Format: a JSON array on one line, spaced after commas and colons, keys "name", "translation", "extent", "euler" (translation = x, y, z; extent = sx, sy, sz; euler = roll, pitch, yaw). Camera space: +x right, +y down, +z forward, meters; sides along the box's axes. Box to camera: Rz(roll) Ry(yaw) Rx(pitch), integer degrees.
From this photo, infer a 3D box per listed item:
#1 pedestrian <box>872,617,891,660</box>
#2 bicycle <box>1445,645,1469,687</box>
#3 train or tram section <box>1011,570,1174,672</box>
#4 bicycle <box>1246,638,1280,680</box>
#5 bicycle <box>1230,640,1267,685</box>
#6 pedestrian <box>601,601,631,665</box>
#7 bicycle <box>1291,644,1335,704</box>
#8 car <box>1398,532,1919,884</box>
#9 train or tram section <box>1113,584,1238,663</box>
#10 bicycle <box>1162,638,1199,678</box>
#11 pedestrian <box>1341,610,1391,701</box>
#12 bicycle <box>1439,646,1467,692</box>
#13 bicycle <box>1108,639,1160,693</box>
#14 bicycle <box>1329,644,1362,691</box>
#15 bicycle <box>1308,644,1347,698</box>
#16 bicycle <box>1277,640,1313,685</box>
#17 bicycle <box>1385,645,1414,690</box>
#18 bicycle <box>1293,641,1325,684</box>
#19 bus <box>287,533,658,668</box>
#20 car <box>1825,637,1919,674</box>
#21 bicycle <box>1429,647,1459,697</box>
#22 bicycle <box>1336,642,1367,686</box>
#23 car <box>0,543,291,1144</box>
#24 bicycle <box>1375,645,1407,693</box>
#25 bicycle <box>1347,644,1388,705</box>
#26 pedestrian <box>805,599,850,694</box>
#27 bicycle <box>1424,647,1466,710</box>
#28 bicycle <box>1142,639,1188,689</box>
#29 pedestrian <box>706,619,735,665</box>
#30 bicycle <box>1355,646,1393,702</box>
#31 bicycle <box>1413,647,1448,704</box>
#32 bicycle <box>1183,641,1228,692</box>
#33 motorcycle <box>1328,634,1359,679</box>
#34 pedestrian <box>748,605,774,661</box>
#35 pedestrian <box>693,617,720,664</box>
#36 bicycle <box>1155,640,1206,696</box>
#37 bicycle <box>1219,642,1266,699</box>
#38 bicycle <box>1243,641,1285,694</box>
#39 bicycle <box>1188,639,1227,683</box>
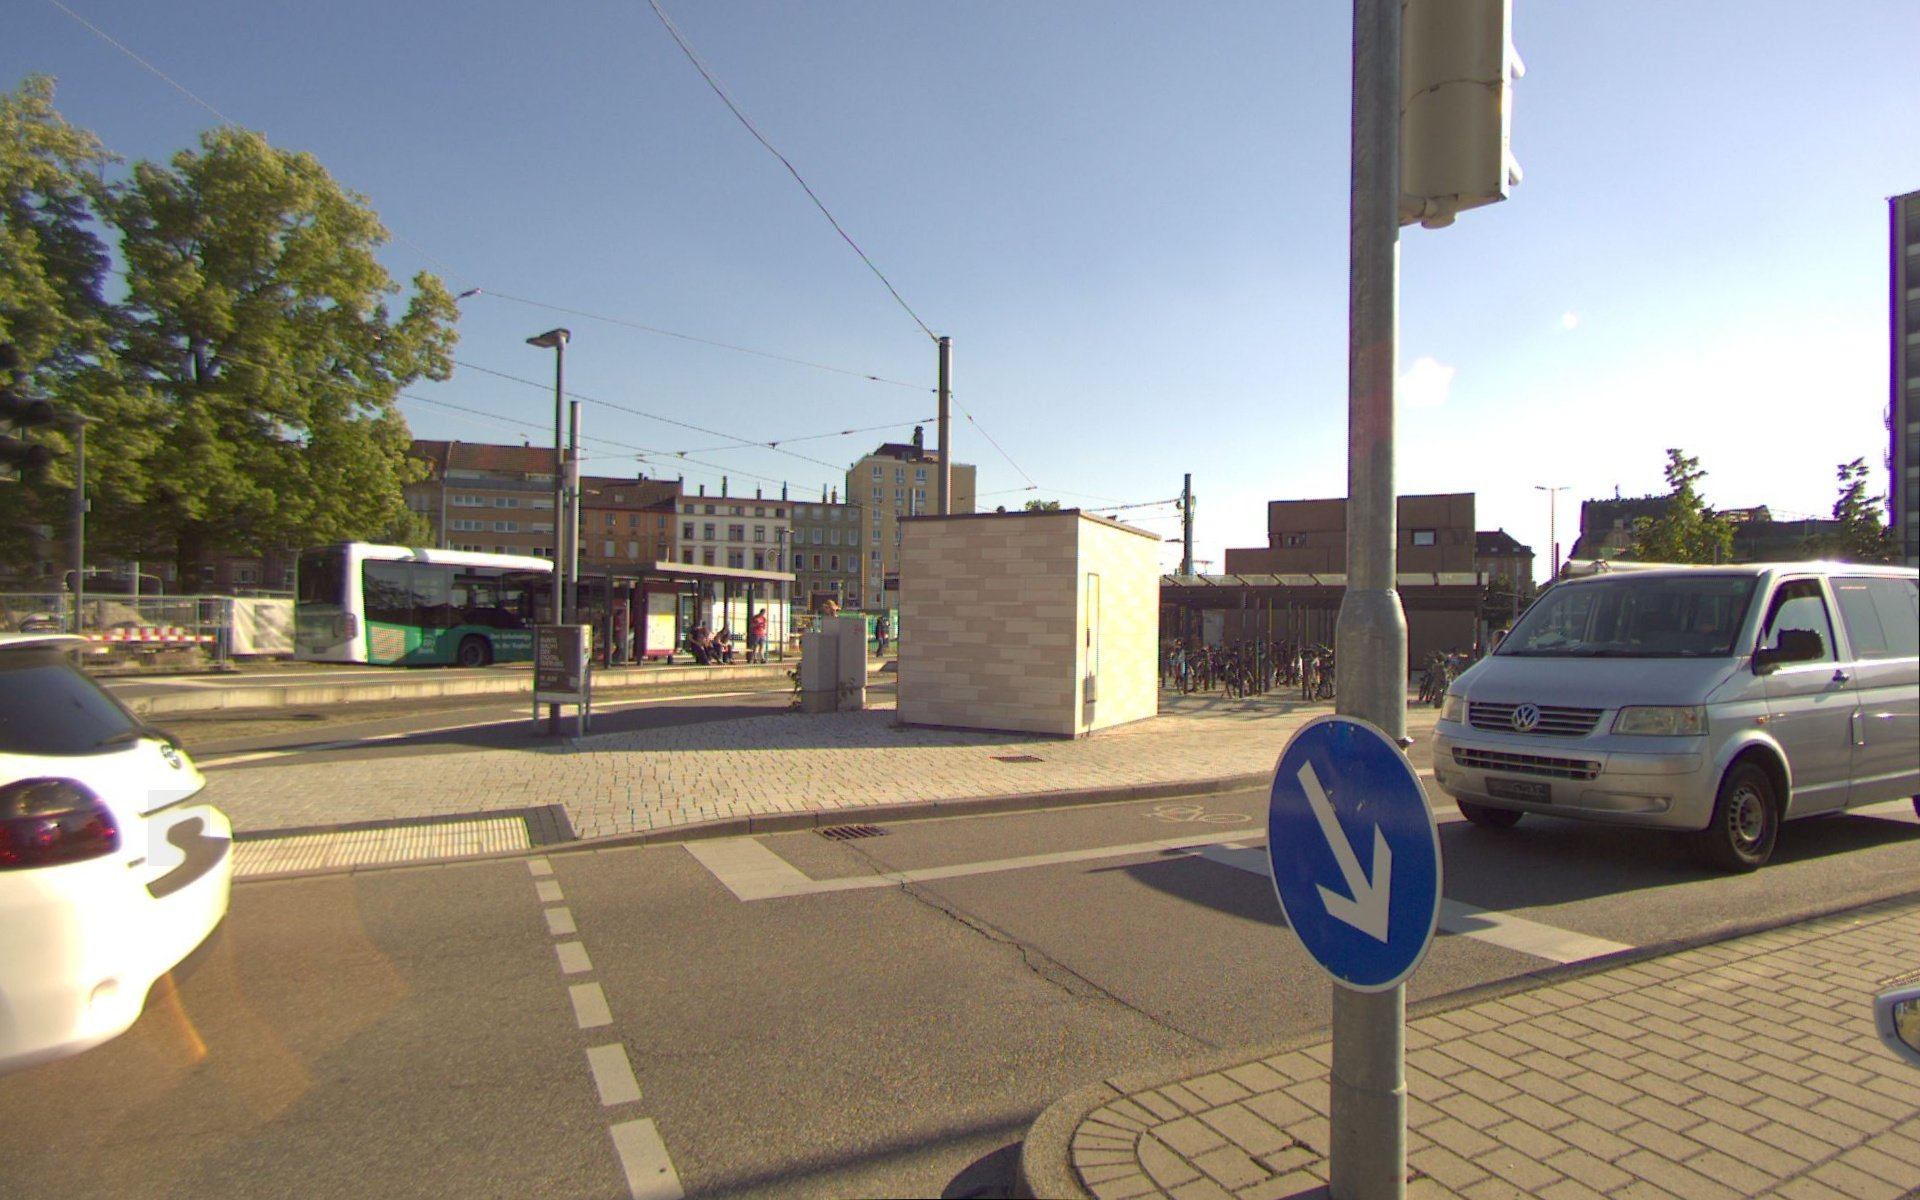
[{"name": "pedestrian", "translation": [-3.299, 1.598, 42.153], "extent": [0.627, 1.772, 0.572], "euler": [0, -1, 13]}, {"name": "bicycle", "translation": [14.819, 1.948, 29.932], "extent": [0.597, 1.129, 1.895], "euler": [2, 0, 27]}, {"name": "train or tram section", "translation": [5.992, 0.910, 42.438], "extent": [2.837, 3.644, 12.185], "euler": [2, -1, 27]}, {"name": "bicycle", "translation": [8.859, 1.700, 29.305], "extent": [0.597, 1.129, 1.895], "euler": [2, 0, 27]}, {"name": "bicycle", "translation": [7.903, 1.690, 27.496], "extent": [0.597, 1.129, 1.895], "euler": [2, 0, 27]}, {"name": "pedestrian", "translation": [-9.750, 0.928, 28.478], "extent": [0.530, 1.772, 0.558], "euler": [0, -1, 34]}, {"name": "bicycle", "translation": [7.415, 1.519, 21.046], "extent": [0.597, 1.129, 1.895], "euler": [2, 0, 27]}, {"name": "car", "translation": [5.711, 0.696, 7.568], "extent": [4.645, 1.970, 1.902], "euler": [1, -3, -27]}, {"name": "train or tram section", "translation": [11.709, 1.262, 53.207], "extent": [2.967, 3.644, 12.180], "euler": [2, -1, 29]}, {"name": "bicycle", "translation": [6.681, 1.738, 30.405], "extent": [0.597, 1.129, 1.895], "euler": [2, 0, 27]}, {"name": "pedestrian", "translation": [8.804, 1.184, 21.756], "extent": [0.887, 1.893, 0.686], "euler": [2, 0, 27]}, {"name": "bicycle", "translation": [13.148, 1.808, 26.783], "extent": [0.597, 1.129, 1.895], "euler": [2, 0, 27]}, {"name": "bicycle", "translation": [3.997, 1.481, 22.961], "extent": [0.597, 1.129, 1.895], "euler": [2, 0, 27]}, {"name": "bicycle", "translation": [10.108, 1.748, 26.296], "extent": [0.597, 1.129, 1.895], "euler": [2, 0, 27]}, {"name": "bicycle", "translation": [8.401, 1.589, 22.915], "extent": [0.597, 1.129, 1.895], "euler": [2, 0, 27]}, {"name": "bicycle", "translation": [8.986, 1.657, 26.909], "extent": [0.597, 1.129, 1.895], "euler": [2, 0, 27]}, {"name": "bicycle", "translation": [12.022, 1.821, 27.454], "extent": [0.597, 1.129, 1.895], "euler": [2, 0, 27]}, {"name": "bicycle", "translation": [9.999, 1.767, 28.733], "extent": [0.597, 1.129, 1.895], "euler": [2, 0, 27]}, {"name": "bus", "translation": [-13.116, 0.100, 28.386], "extent": [2.614, 3.177, 9.628], "euler": [2, -1, 29]}, {"name": "car", "translation": [42.284, 2.507, 46.088], "extent": [1.576, 1.581, 3.632], "euler": [1, -2, -21]}, {"name": "bicycle", "translation": [12.104, 1.771, 25.099], "extent": [0.597, 1.129, 1.895], "euler": [2, 0, 27]}, {"name": "bicycle", "translation": [10.983, 1.780, 28.121], "extent": [0.597, 1.129, 1.895], "euler": [2, 0, 27]}, {"name": "car", "translation": [-4.297, 0.620, 2.697], "extent": [3.928, 1.581, 1.689], "euler": [1, -2, -27]}, {"name": "bicycle", "translation": [11.043, 1.750, 25.721], "extent": [0.597, 1.129, 1.895], "euler": [2, 0, 27]}, {"name": "bicycle", "translation": [8.319, 1.492, 20.476], "extent": [0.597, 1.129, 1.895], "euler": [2, 0, 27]}, {"name": "pedestrian", "translation": [-2.493, 0.867, 18.979], "extent": [0.627, 1.772, 0.572], "euler": [0, -1, 21]}, {"name": "bicycle", "translation": [9.577, 1.525, 19.817], "extent": [0.598, 1.129, 1.893], "euler": [2, 0, 29]}, {"name": "bicycle", "translation": [5.067, 1.556, 24.742], "extent": [0.597, 1.129, 1.895], "euler": [2, 0, 27]}, {"name": "pedestrian", "translation": [-7.230, 1.266, 30.357], "extent": [0.561, 1.363, 0.639], "euler": [0, -1, 22]}, {"name": "bicycle", "translation": [9.182, 1.605, 22.256], "extent": [0.597, 1.129, 1.895], "euler": [2, 0, 27]}, {"name": "bicycle", "translation": [10.249, 1.614, 21.869], "extent": [0.597, 1.129, 1.895], "euler": [2, 0, 27]}, {"name": "bicycle", "translation": [5.836, 1.553, 23.824], "extent": [0.597, 1.129, 1.895], "euler": [2, 0, 27]}, {"name": "motorcycle", "translation": [12.836, 1.872, 33.581], "extent": [0.754, 1.408, 1.895], "euler": [2, 0, 26]}, {"name": "pedestrian", "translation": [-6.371, 1.057, 32.178], "extent": [0.561, 1.772, 0.639], "euler": [0, -1, 22]}, {"name": "pedestrian", "translation": [-7.508, 1.194, 29.717], "extent": [0.606, 1.358, 0.441], "euler": [0, -1, 22]}, {"name": "bicycle", "translation": [4.855, 1.468, 22.049], "extent": [0.597, 1.129, 1.895], "euler": [2, 0, 27]}, {"name": "bicycle", "translation": [6.114, 1.493, 21.686], "extent": [0.597, 1.129, 1.895], "euler": [2, 0, 27]}, {"name": "bicycle", "translation": [7.129, 1.556, 23.508], "extent": [0.597, 1.129, 1.895], "euler": [2, 0, 27]}, {"name": "bicycle", "translation": [6.956, 1.694, 28.186], "extent": [0.597, 1.129, 1.895], "euler": [2, 0, 27]}]
